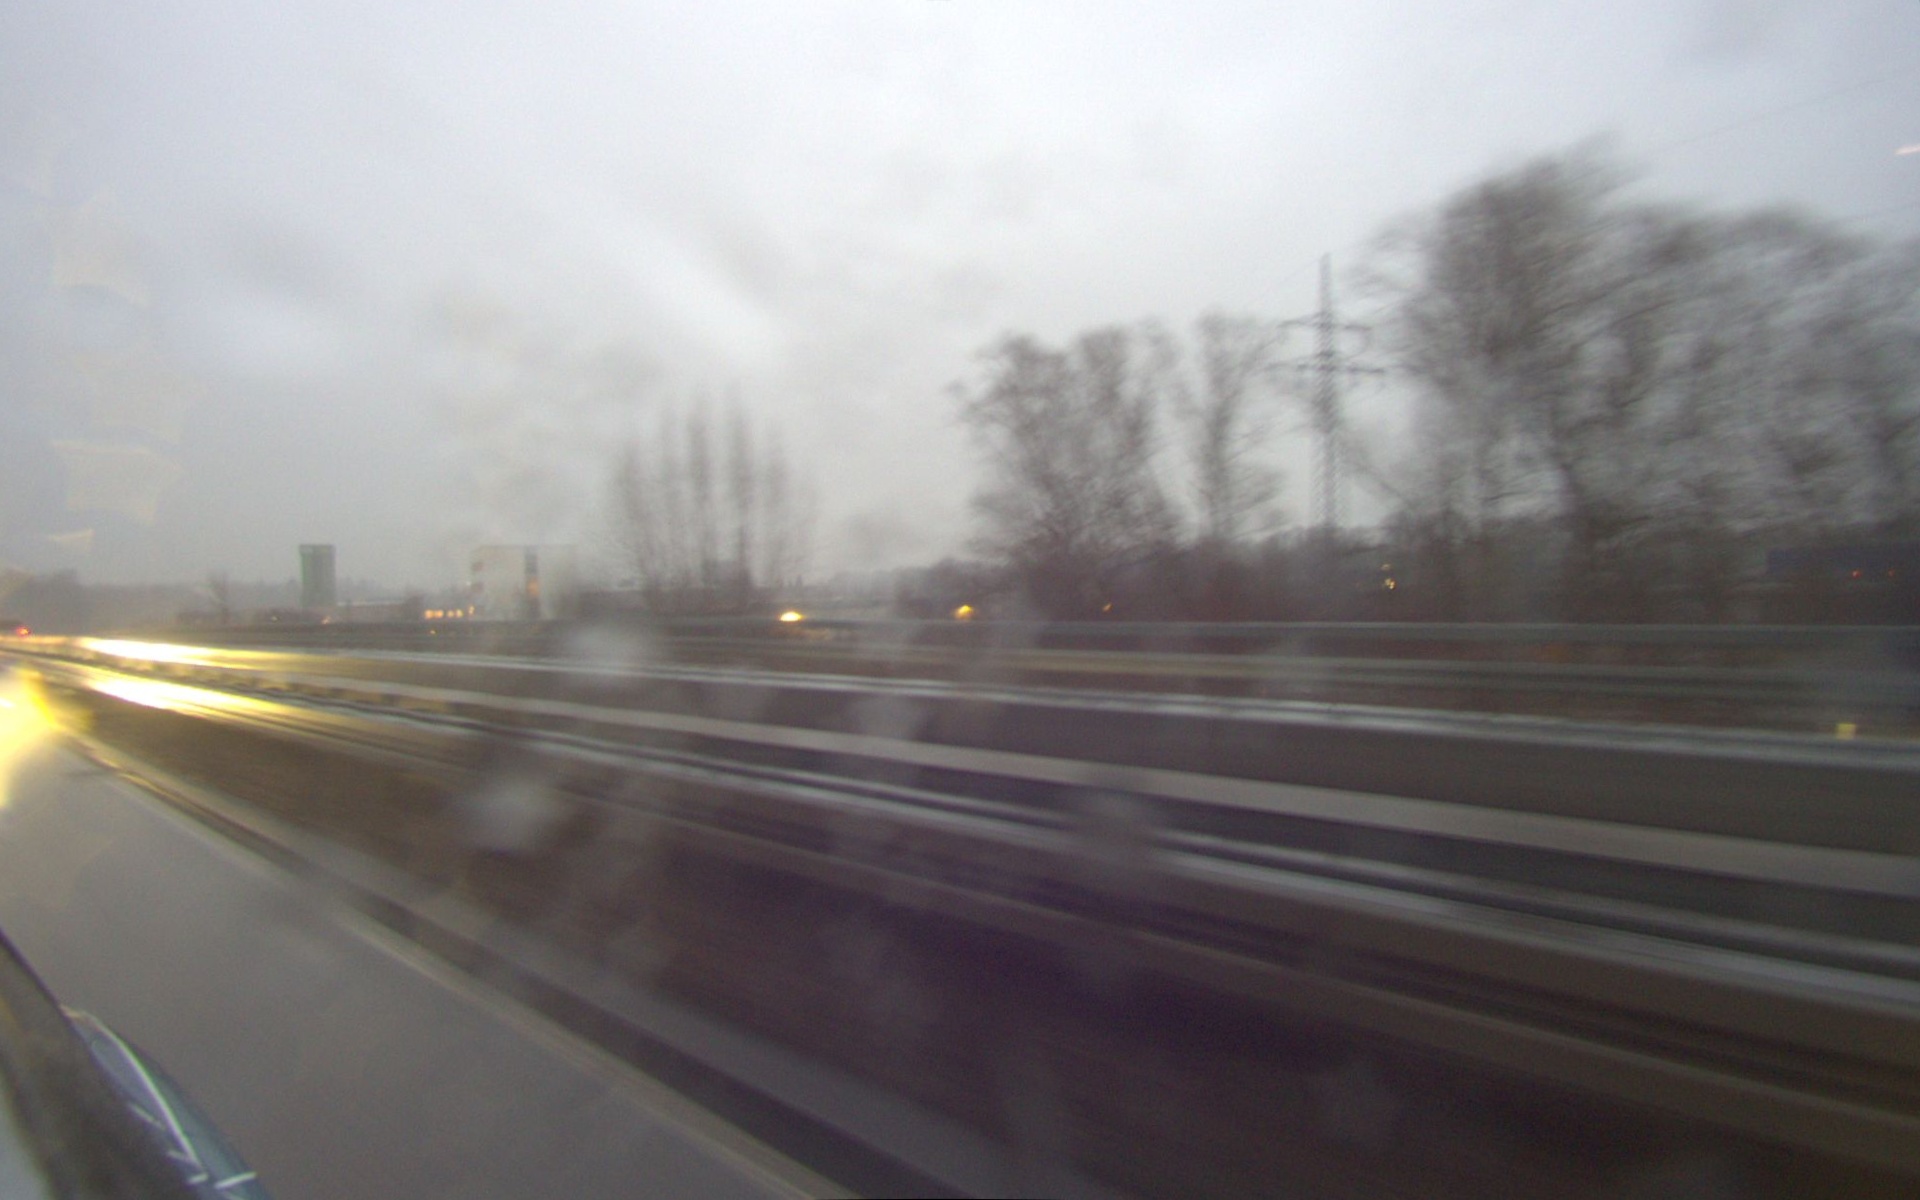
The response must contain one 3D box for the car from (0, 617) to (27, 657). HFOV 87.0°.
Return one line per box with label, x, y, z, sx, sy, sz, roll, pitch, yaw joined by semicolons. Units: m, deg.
car;-57.499;2.171;60.486;5.205;2.280;2.028;-1;-1;41
